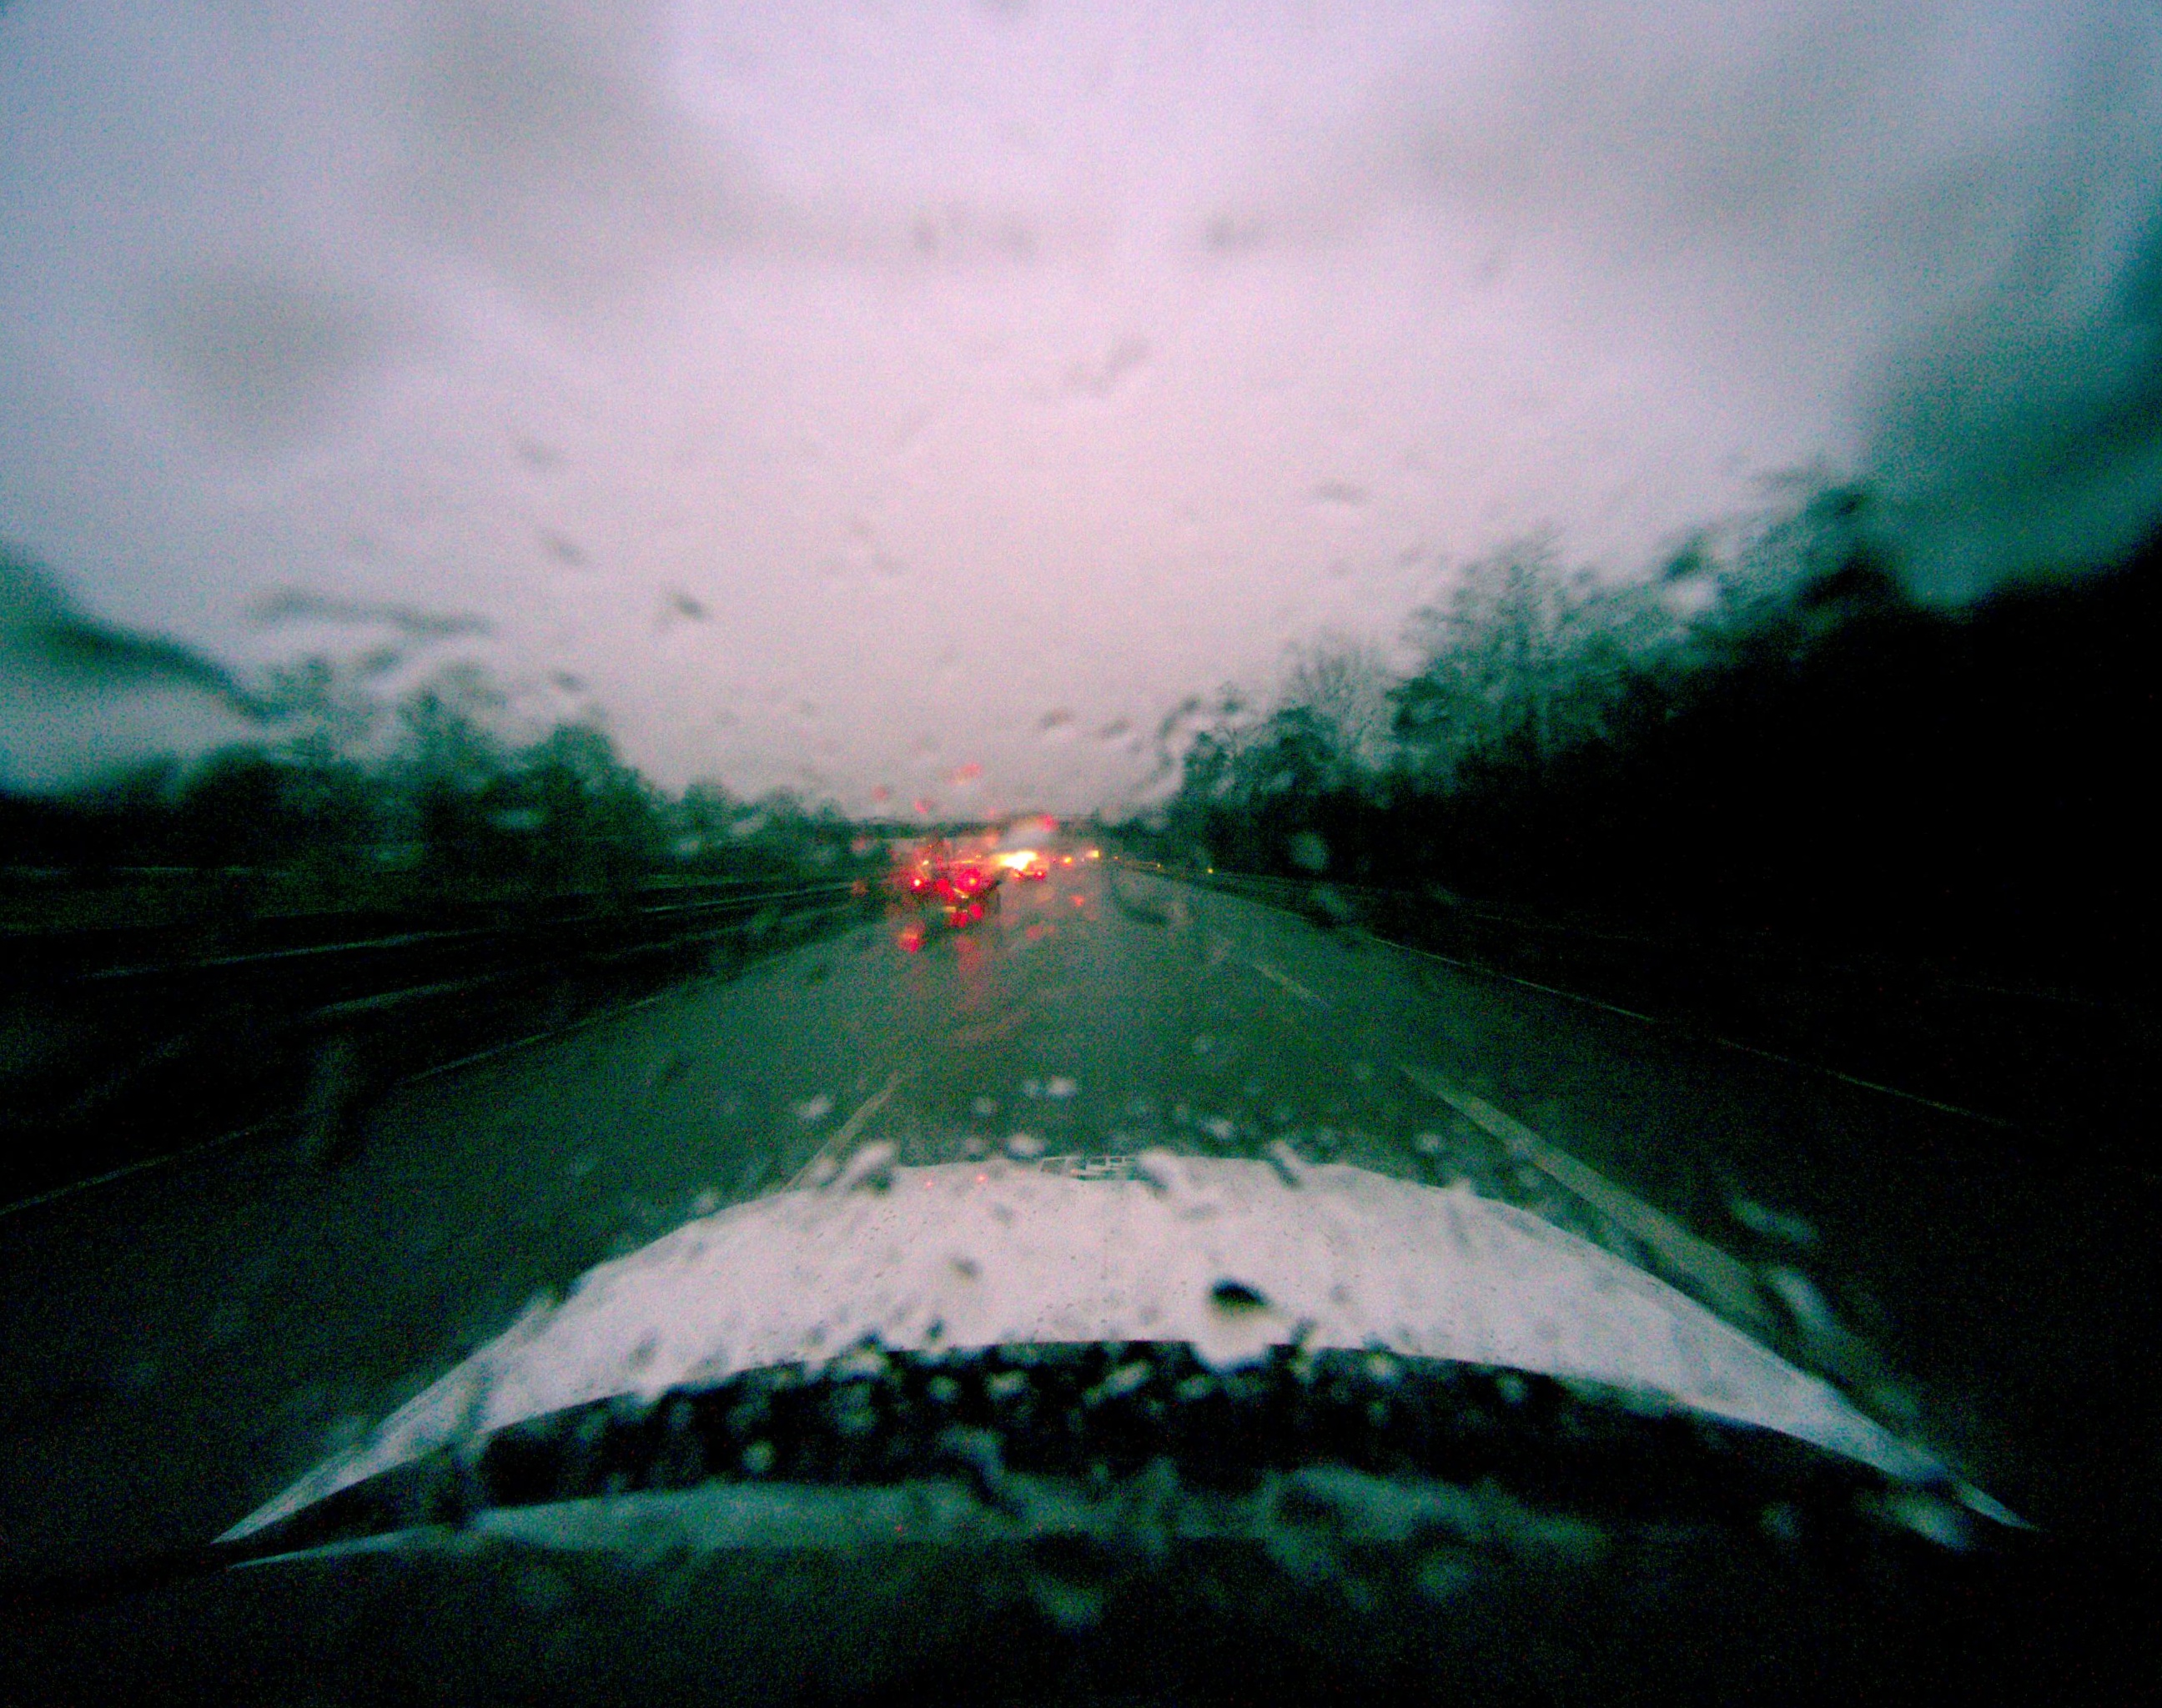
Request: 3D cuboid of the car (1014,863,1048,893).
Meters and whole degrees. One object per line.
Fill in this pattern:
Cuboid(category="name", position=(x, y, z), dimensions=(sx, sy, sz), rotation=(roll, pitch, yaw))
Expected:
Cuboid(category="car", position=(-2.824, 1.340, 46.604), dimensions=(1.772, 1.534, 4.698), rotation=(-2, -1, -2))

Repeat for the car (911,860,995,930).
Cuboid(category="car", position=(-2.924, 0.898, 19.164), dimensions=(1.524, 1.415, 3.475), rotation=(2, 0, -3))
